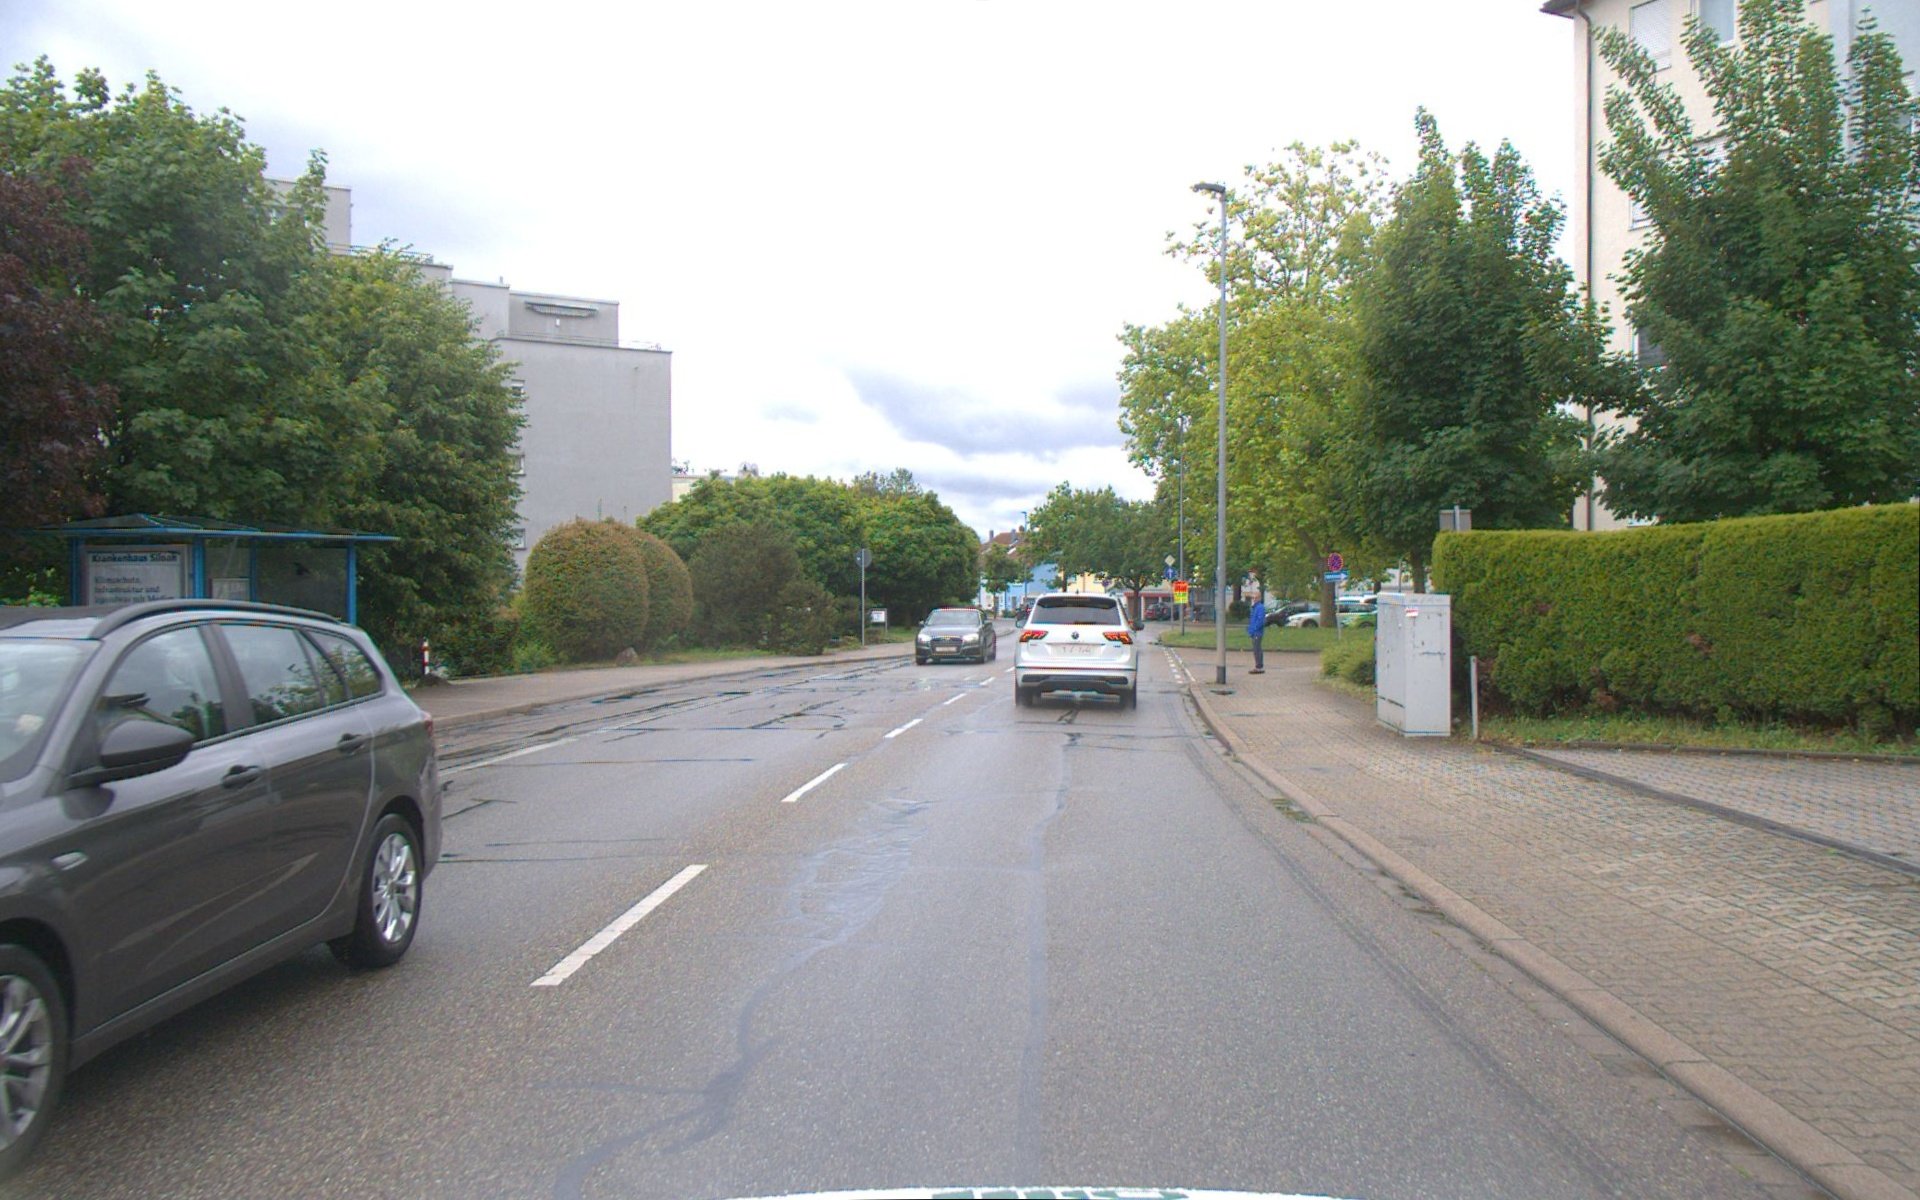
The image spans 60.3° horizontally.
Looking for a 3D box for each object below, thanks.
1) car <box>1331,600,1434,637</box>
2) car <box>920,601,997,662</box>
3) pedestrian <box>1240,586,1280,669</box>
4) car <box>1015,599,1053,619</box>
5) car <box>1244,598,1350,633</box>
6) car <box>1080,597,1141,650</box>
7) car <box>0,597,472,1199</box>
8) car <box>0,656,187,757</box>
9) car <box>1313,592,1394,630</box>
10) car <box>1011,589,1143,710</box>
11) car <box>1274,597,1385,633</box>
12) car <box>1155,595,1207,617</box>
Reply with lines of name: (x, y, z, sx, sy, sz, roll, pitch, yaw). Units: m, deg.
car: (17.802, 0.780, 69.788, 3.927, 1.468, 1.764, -1, 0, 1)
car: (0.009, 0.781, 42.892, 1.638, 1.468, 4.002, 0, 0, 5)
pedestrian: (6.301, 0.577, 34.730, 0.578, 1.695, 0.774, 1, -1, -10)
car: (5.615, 0.682, 126.488, 1.959, 1.445, 3.987, 0, 0, -13)
car: (15.341, 0.702, 75.371, 4.478, 1.468, 1.764, -1, 0, 1)
car: (4.672, 0.709, 51.684, 1.732, 1.578, 4.002, 0, 0, 3)
car: (-3.243, 0.779, 5.532, 1.739, 1.499, 4.252, -1, 1, 3)
car: (-15.558, 1.790, 28.653, 1.951, 1.446, 4.170, -1, 0, 8)
car: (20.114, 0.551, 84.721, 1.967, 1.914, 4.181, 0, 0, -24)
car: (1.868, 0.695, 25.329, 1.825, 1.679, 4.003, -1, 0, 6)
car: (16.218, 0.663, 72.701, 4.478, 1.468, 1.764, -1, 0, 1)
car: (18.048, 0.468, 135.135, 3.945, 1.751, 1.905, 0, 0, -30)
